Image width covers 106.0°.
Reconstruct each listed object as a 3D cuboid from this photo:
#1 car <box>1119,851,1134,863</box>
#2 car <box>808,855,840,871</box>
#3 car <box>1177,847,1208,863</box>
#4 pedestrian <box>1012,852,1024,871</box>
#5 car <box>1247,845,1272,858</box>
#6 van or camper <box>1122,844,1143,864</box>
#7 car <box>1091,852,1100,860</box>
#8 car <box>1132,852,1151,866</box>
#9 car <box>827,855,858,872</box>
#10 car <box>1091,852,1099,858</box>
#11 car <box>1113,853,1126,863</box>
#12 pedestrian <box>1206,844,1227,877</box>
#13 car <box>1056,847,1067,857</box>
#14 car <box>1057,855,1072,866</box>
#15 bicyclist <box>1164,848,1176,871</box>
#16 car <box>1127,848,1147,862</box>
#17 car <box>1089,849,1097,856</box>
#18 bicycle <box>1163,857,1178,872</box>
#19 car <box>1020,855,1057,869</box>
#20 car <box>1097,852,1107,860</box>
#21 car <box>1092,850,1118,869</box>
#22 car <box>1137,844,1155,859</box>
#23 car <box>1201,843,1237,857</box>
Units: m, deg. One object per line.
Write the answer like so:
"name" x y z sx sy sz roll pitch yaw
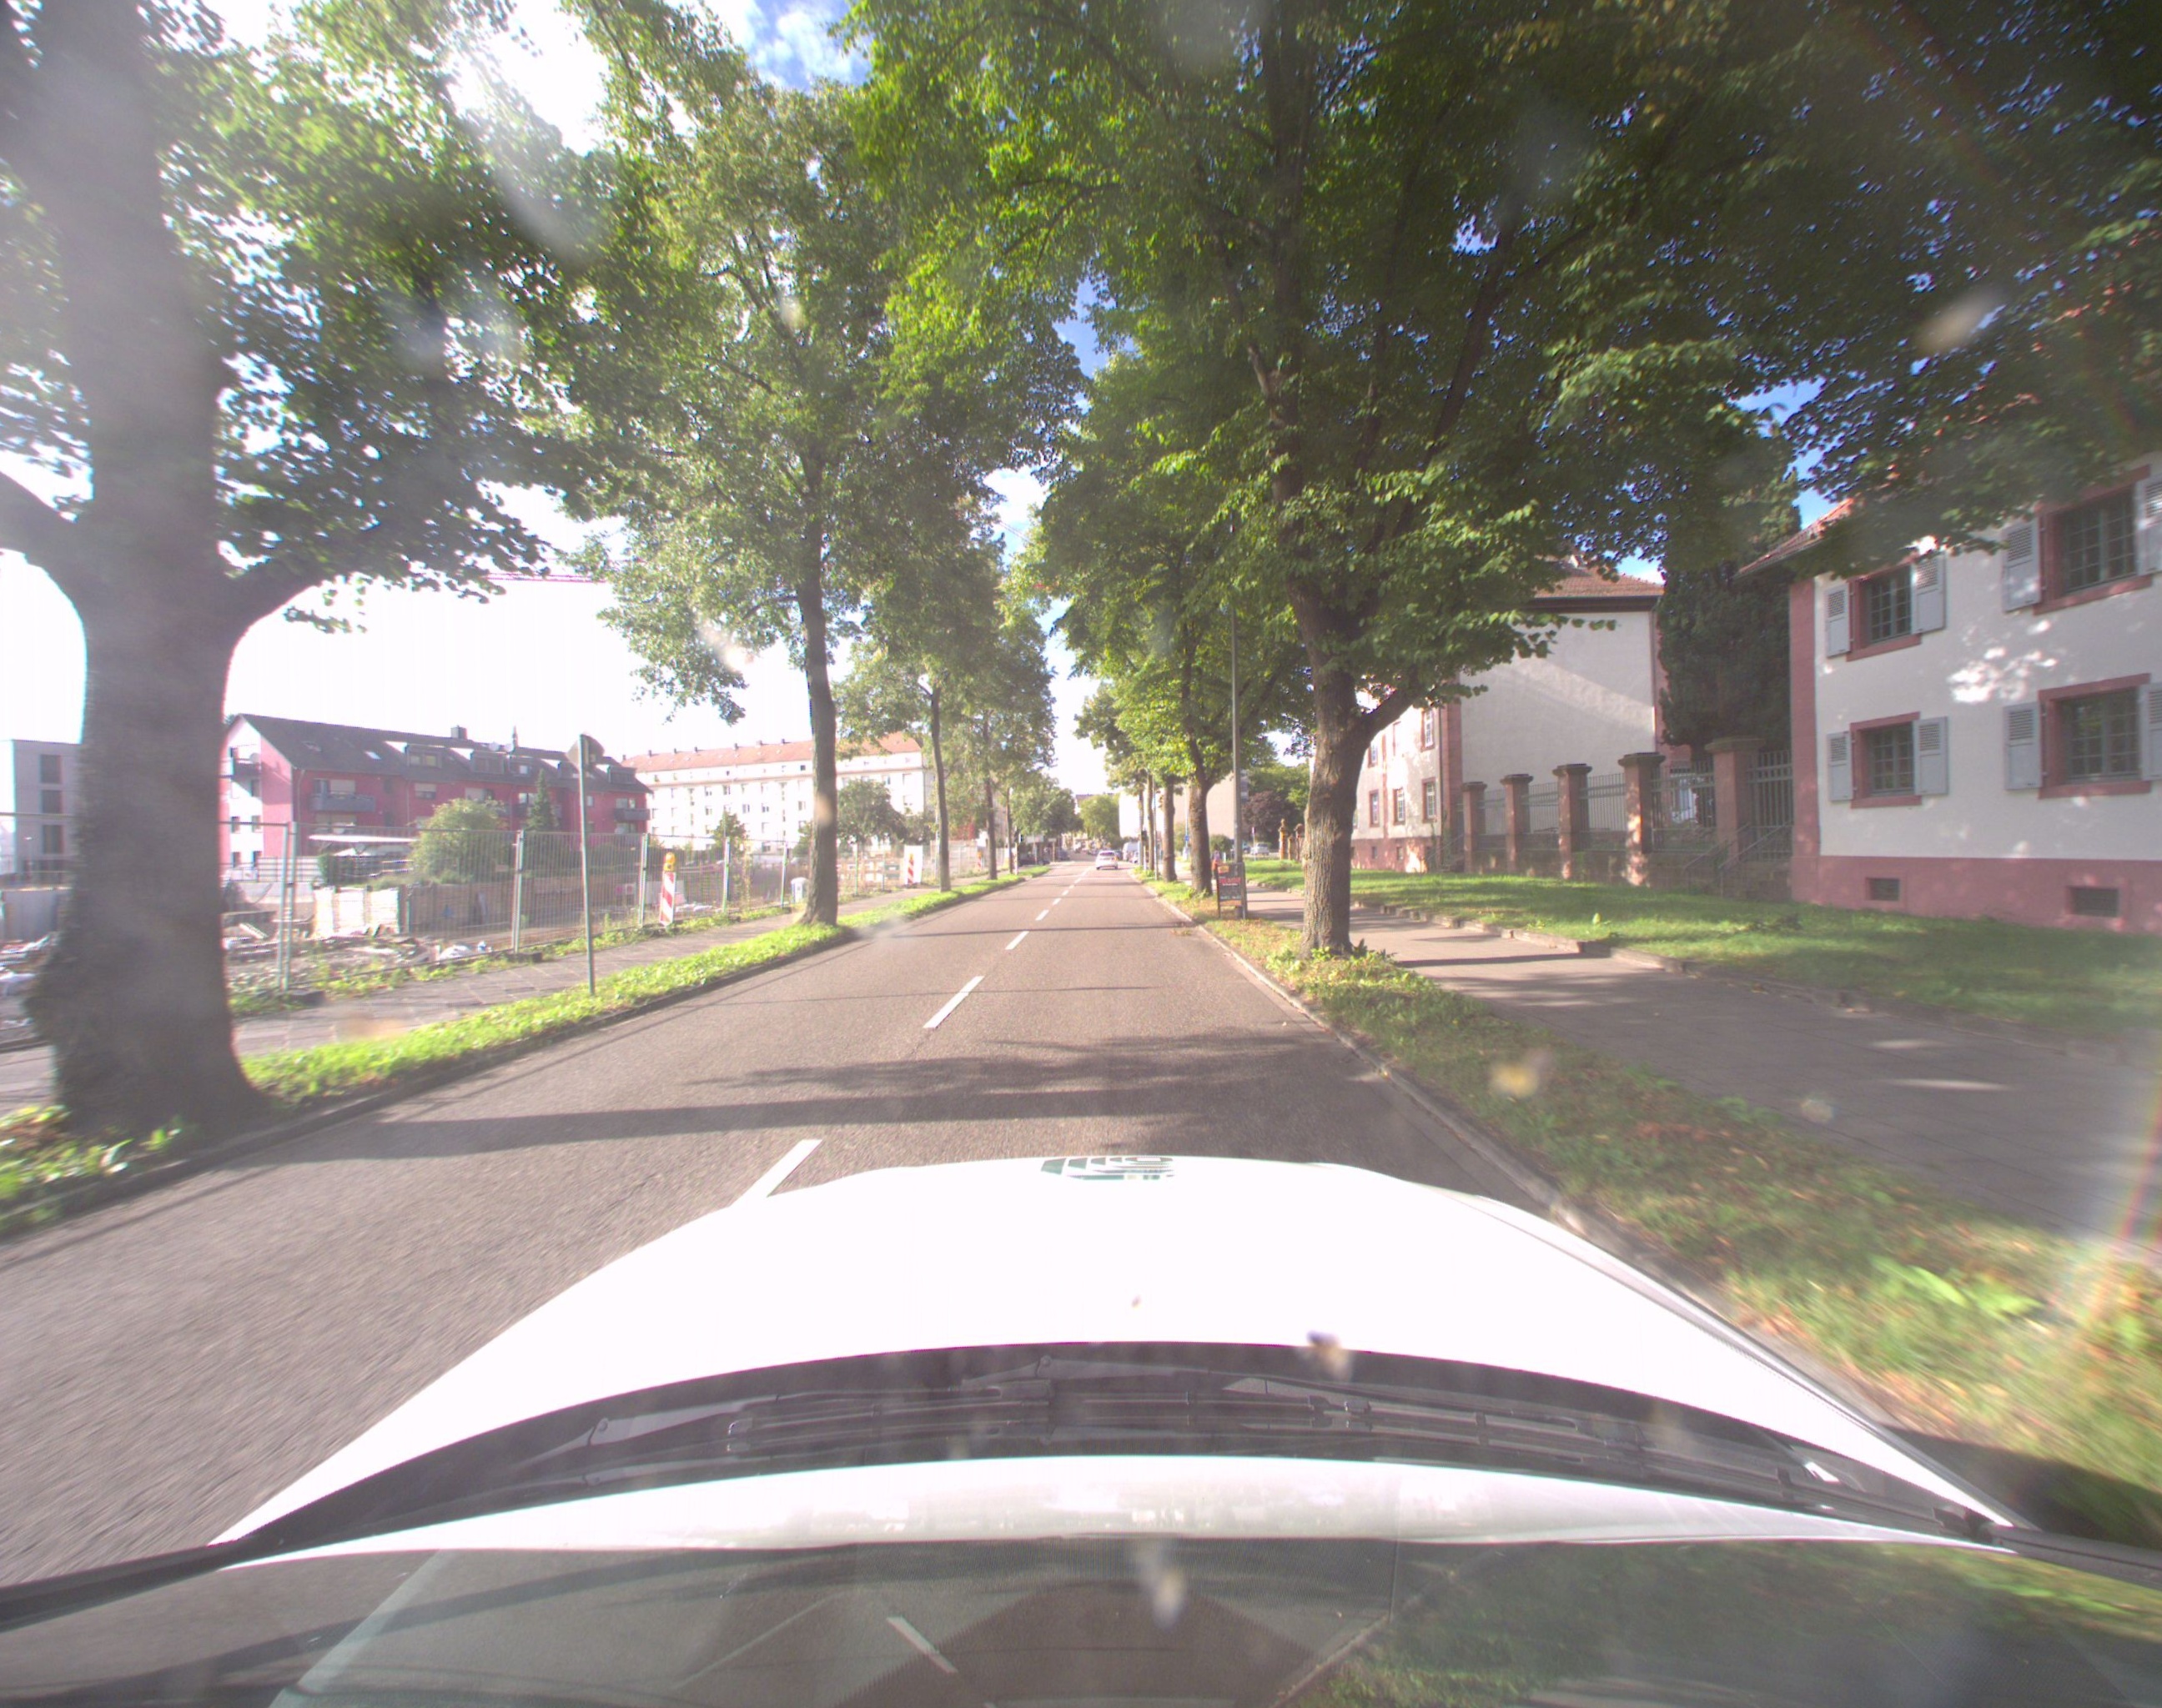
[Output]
"car" 6.734 0.427 121.120 1.987 1.574 4.000 -2 0 1
"car" -33.375 1.173 106.007 1.978 2.013 4.018 -2 0 16
"car" 15.640 0.146 114.420 4.100 2.186 2.003 -2 0 4
"pedestrian" -5.955 0.736 77.086 1.007 1.728 1.174 -1 -1 -11
"car" 21.658 -0.307 98.890 1.988 1.442 3.998 -2 0 -1
"van or camper" 6.928 -0.046 110.184 2.204 2.607 5.366 -2 0 -3
"car" 3.311 0.479 186.093 1.986 1.755 4.002 0 0 2
"car" 7.212 0.608 97.306 2.007 1.475 4.805 -3 0 2
"car" -30.893 1.180 105.654 1.978 2.013 4.018 -2 0 16
"car" 3.791 0.280 218.649 1.986 1.755 4.002 0 0 2
"car" 6.191 0.647 131.767 1.987 1.574 4.000 -2 0 1
"pedestrian" 6.695 0.311 40.206 0.811 1.590 0.769 -4 0 0
"car" -4.142 -0.428 173.319 1.987 2.013 4.000 -2 0 1
"car" -2.610 0.942 126.684 1.990 1.640 3.993 -2 0 -5
"bicyclist" 6.249 0.379 57.203 0.734 1.513 0.875 -4 0 1
"car" 7.141 0.135 104.143 1.988 1.615 4.405 -2 0 -2
"car" 2.908 -0.342 198.055 1.986 1.755 4.002 0 0 2
"bicycle" 6.274 0.724 57.164 0.737 1.035 2.762 -4 0 1
"car" -4.835 0.857 92.736 3.949 1.570 2.012 0 0 42
"car" 4.429 0.391 169.286 1.987 1.574 4.000 -2 0 1
"car" 2.063 0.494 69.761 1.988 1.555 4.271 0 0 -2
"car" 7.005 -0.224 87.573 1.710 1.496 4.271 -2 0 2
"car" 17.840 -0.541 105.147 4.427 1.621 2.003 -2 0 4
